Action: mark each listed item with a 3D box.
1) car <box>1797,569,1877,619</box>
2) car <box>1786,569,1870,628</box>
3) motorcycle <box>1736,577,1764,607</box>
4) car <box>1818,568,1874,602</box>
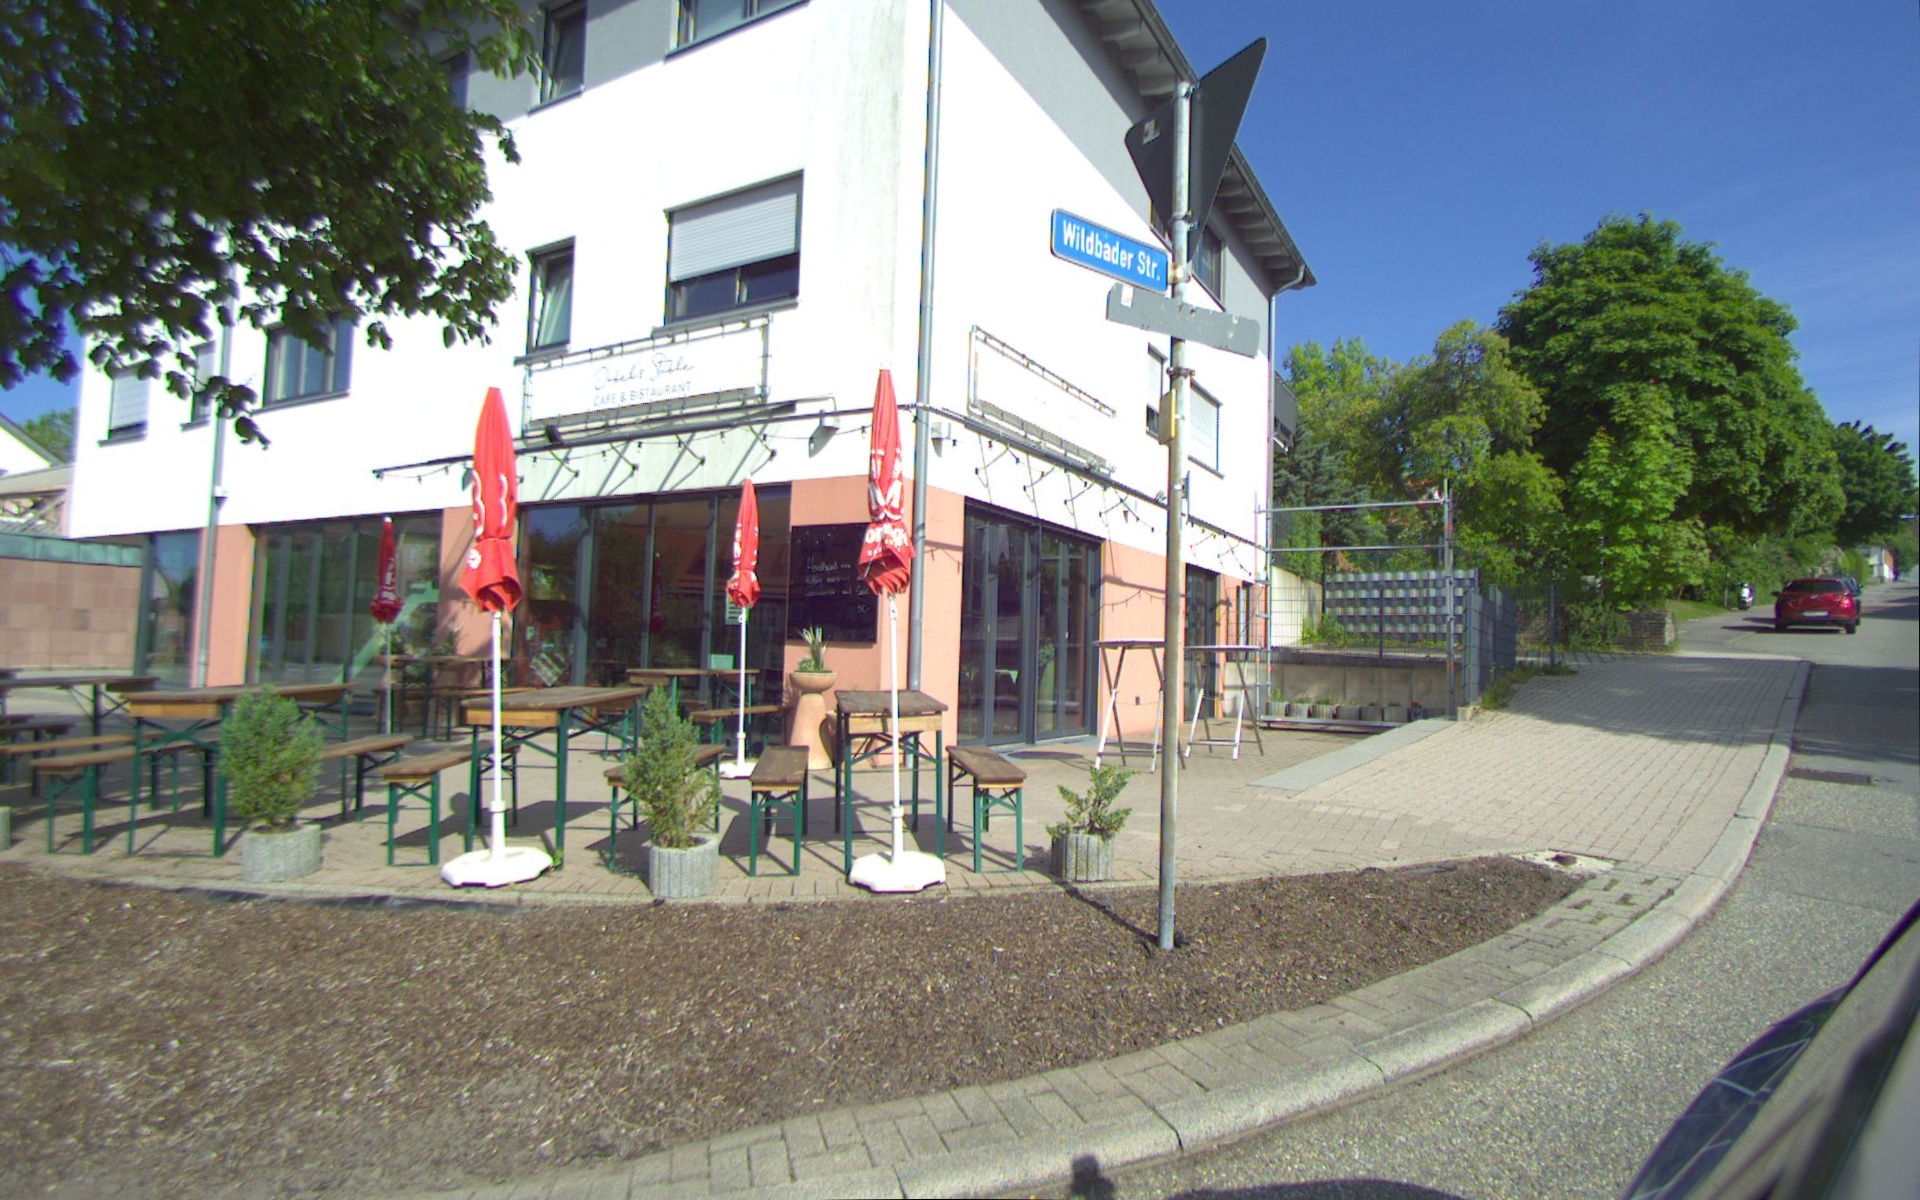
[{"bbox_3d":[27.681,-0.205,31.914,1.770,1.489,3.752,0,1,43],"label":"car"},{"bbox_3d":[23.934,-0.061,27.864,1.619,1.517,3.752,0,1,43],"label":"car"},{"bbox_3d":[31.791,-0.340,40.728,0.782,1.196,2.156,0,1,41],"label":"motorcycle"},{"bbox_3d":[39.865,-0.679,45.498,1.770,1.489,3.752,0,1,43],"label":"car"}]
